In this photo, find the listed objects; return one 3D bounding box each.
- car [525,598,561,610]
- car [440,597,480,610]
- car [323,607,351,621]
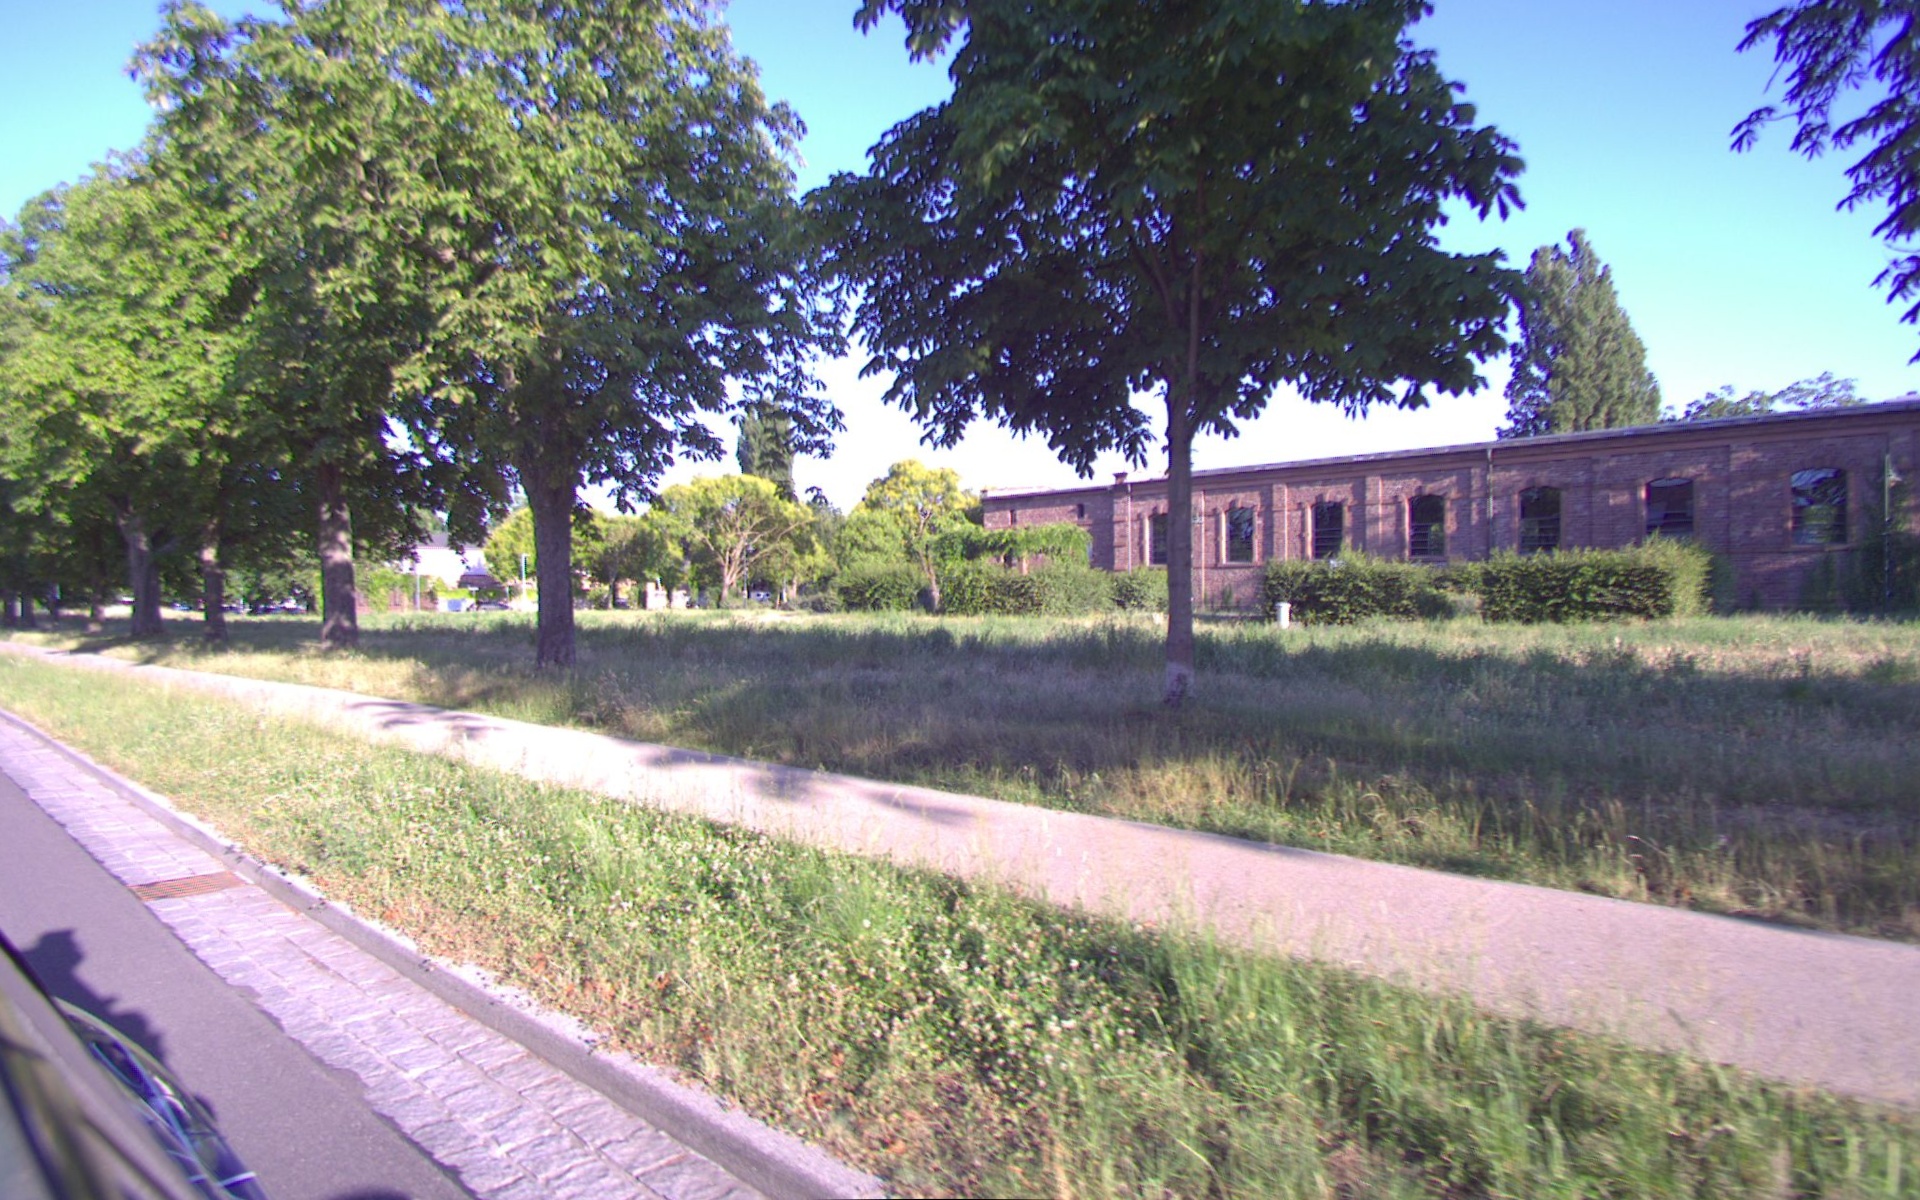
[{"bbox_3d":[-49.054,0.440,119.022,1.586,1.289,3.589,0,1,42],"label":"car"},{"bbox_3d":[-54.862,0.368,111.095,1.586,1.289,3.589,0,1,42],"label":"car"},{"bbox_3d":[-74.514,1.661,120.970,3.998,1.641,1.744,-1,1,41],"label":"car"}]
